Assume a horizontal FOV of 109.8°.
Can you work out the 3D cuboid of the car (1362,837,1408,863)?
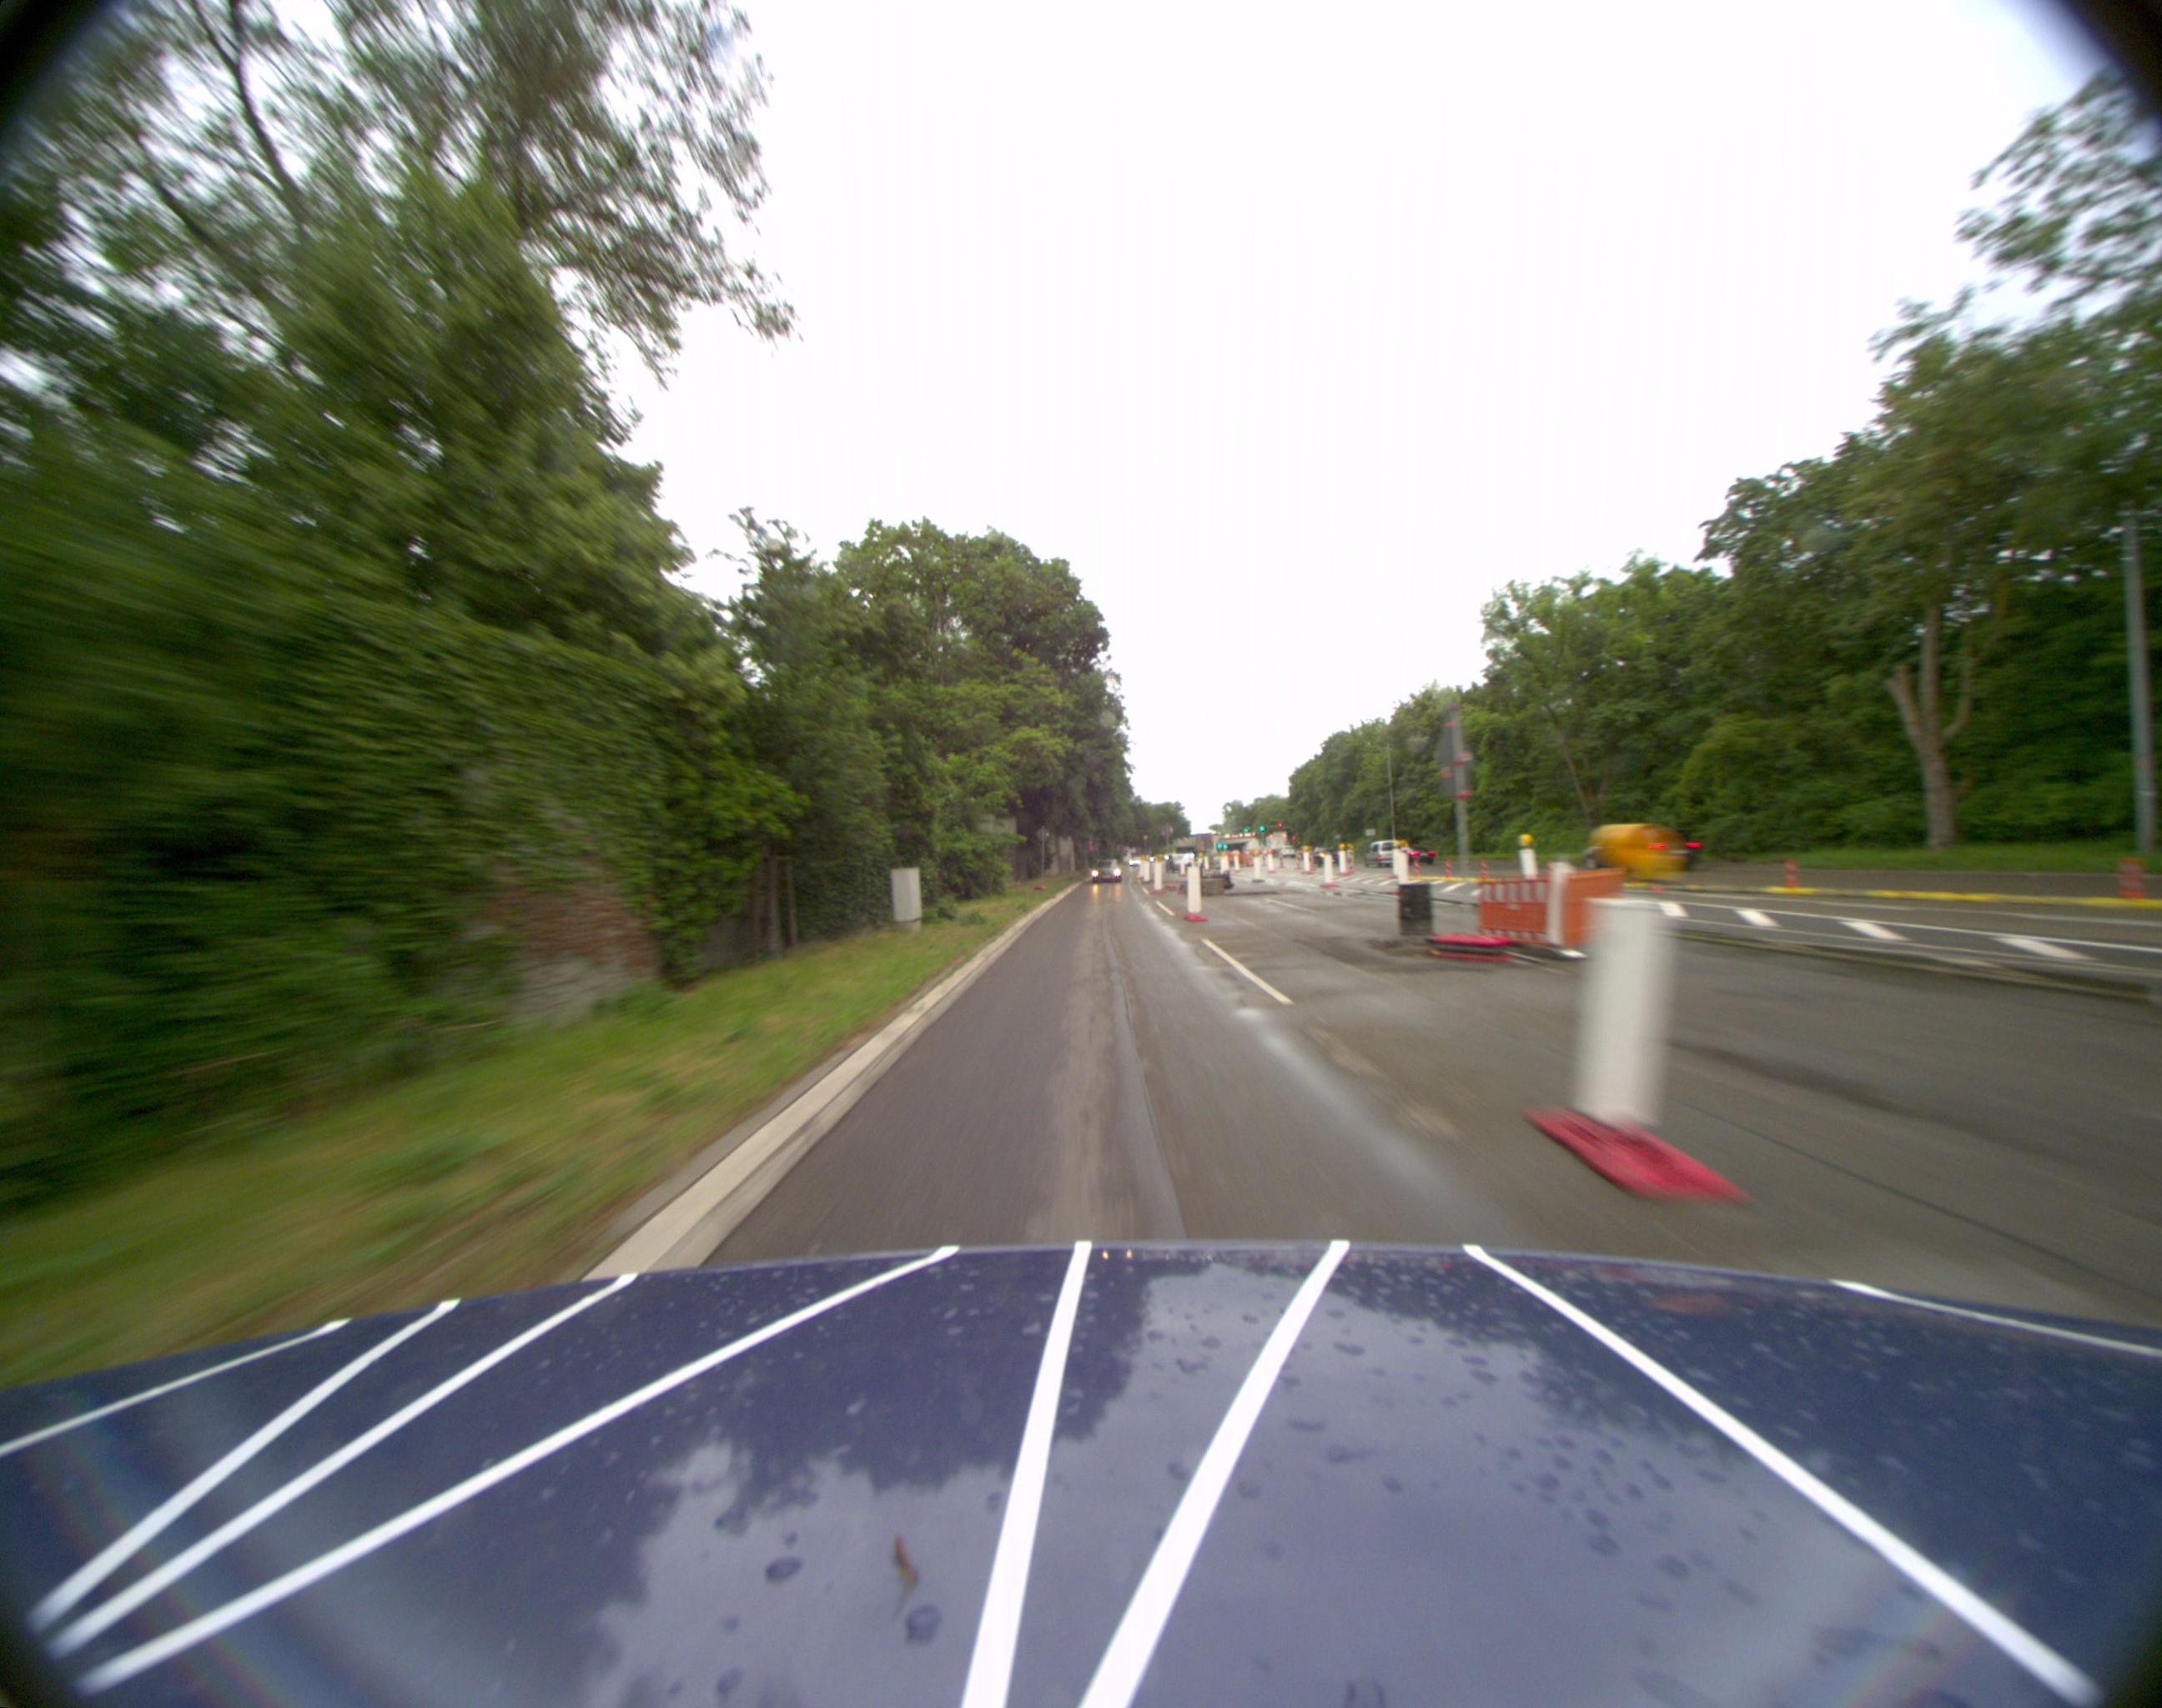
[{"bbox_3d":[20.272,-0.244,50.761,1.678,1.604,3.770,-1,0,3],"label":"car"}]

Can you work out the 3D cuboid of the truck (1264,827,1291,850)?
[{"bbox_3d":[34.091,-2.597,132.131,3.149,3.809,9.650,-2,0,7],"label":"truck"}]

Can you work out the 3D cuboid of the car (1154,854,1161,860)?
[{"bbox_3d":[18.534,0.738,183.582,1.710,1.433,4.233,-2,0,6],"label":"car"}]

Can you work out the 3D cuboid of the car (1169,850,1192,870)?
[{"bbox_3d":[8.803,0.531,67.209,1.793,1.574,3.862,-3,0,5],"label":"car"}]

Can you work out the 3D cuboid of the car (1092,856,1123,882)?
[{"bbox_3d":[1.723,0.907,47.997,1.701,1.477,4.001,-2,0,4],"label":"car"}]

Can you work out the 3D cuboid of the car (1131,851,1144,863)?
[{"bbox_3d":[8.611,0.430,115.780,1.707,1.681,4.474,-2,0,6],"label":"car"}]

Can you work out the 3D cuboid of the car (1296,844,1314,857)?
[{"bbox_3d":[28.672,-0.446,97.154,1.678,1.486,3.772,-1,0,8],"label":"car"}]

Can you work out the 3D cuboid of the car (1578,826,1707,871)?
[{"bbox_3d":[22.042,-0.200,30.109,1.678,1.604,4.768,-1,0,2],"label":"car"}]

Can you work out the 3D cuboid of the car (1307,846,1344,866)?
[{"bbox_3d":[19.237,0.155,59.899,1.743,1.486,3.770,-1,0,2],"label":"car"}]

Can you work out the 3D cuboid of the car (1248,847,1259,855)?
[{"bbox_3d":[33.951,-0.569,149.698,1.864,1.486,4.180,-1,0,8],"label":"car"}]

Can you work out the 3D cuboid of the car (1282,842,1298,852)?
[{"bbox_3d":[31.944,-1.035,116.260,1.907,1.486,3.772,-1,0,8],"label":"car"}]

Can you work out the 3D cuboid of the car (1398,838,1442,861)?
[{"bbox_3d":[23.785,-0.311,53.444,1.624,1.475,3.608,-1,0,3],"label":"car"}]
